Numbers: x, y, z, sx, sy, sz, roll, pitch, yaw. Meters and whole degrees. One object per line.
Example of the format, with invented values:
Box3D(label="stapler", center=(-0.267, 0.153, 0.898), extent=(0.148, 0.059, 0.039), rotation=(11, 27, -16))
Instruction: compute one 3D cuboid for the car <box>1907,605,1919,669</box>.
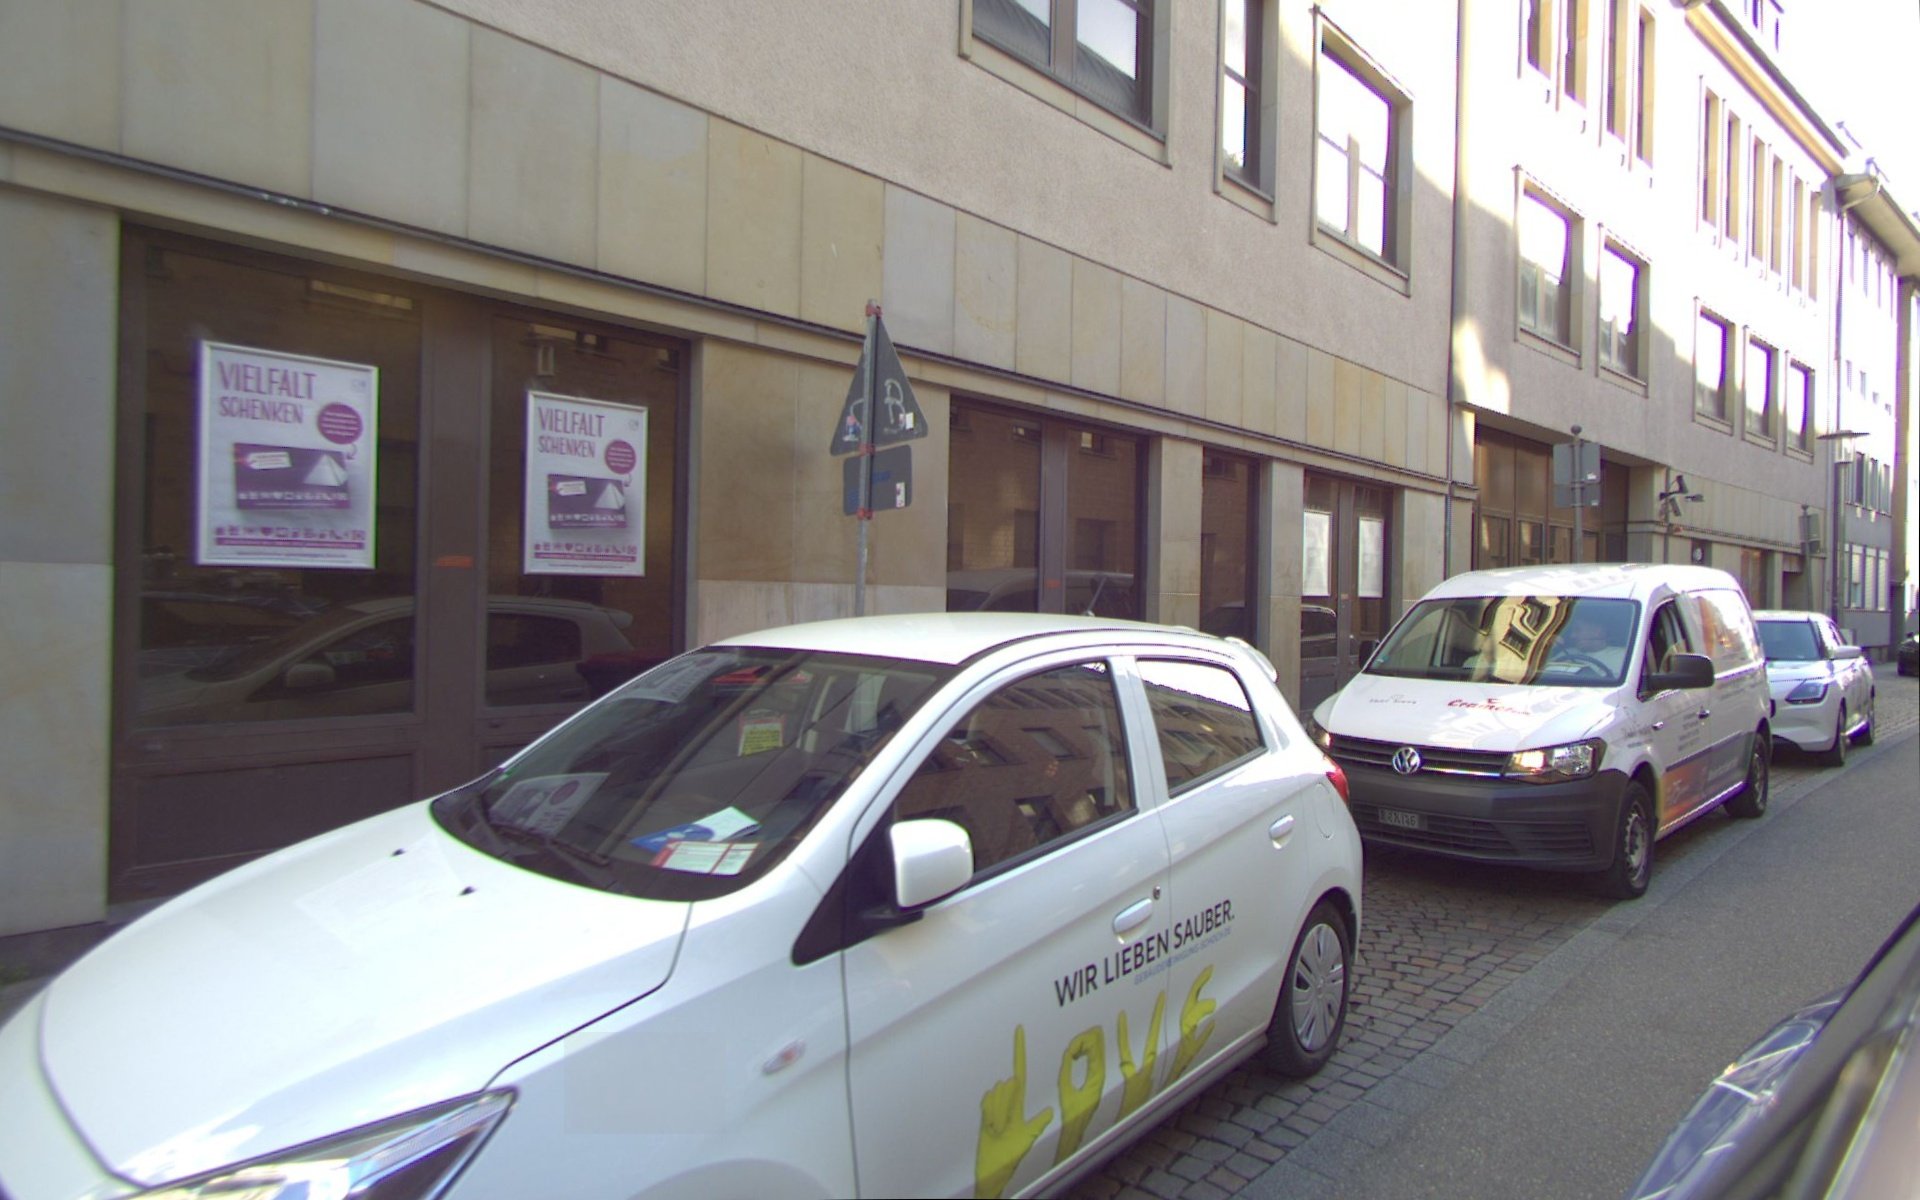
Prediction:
Box3D(label="car", center=(24.608, 0.874, 24.342), extent=(5.129, 1.472, 1.899), rotation=(1, -1, -38))

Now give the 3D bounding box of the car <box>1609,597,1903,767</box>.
Box3D(label="car", center=(8.740, 0.760, 10.989), extent=(4.096, 1.497, 1.842), rotation=(1, -2, -42))

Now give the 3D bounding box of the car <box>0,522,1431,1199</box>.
Box3D(label="car", center=(-0.275, 0.698, 2.994), extent=(1.888, 1.537, 3.999), rotation=(0, 0, 43))

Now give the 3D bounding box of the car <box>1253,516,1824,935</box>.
Box3D(label="car", center=(4.174, 0.550, 6.799), extent=(5.124, 1.814, 1.833), rotation=(0, -1, -42))
